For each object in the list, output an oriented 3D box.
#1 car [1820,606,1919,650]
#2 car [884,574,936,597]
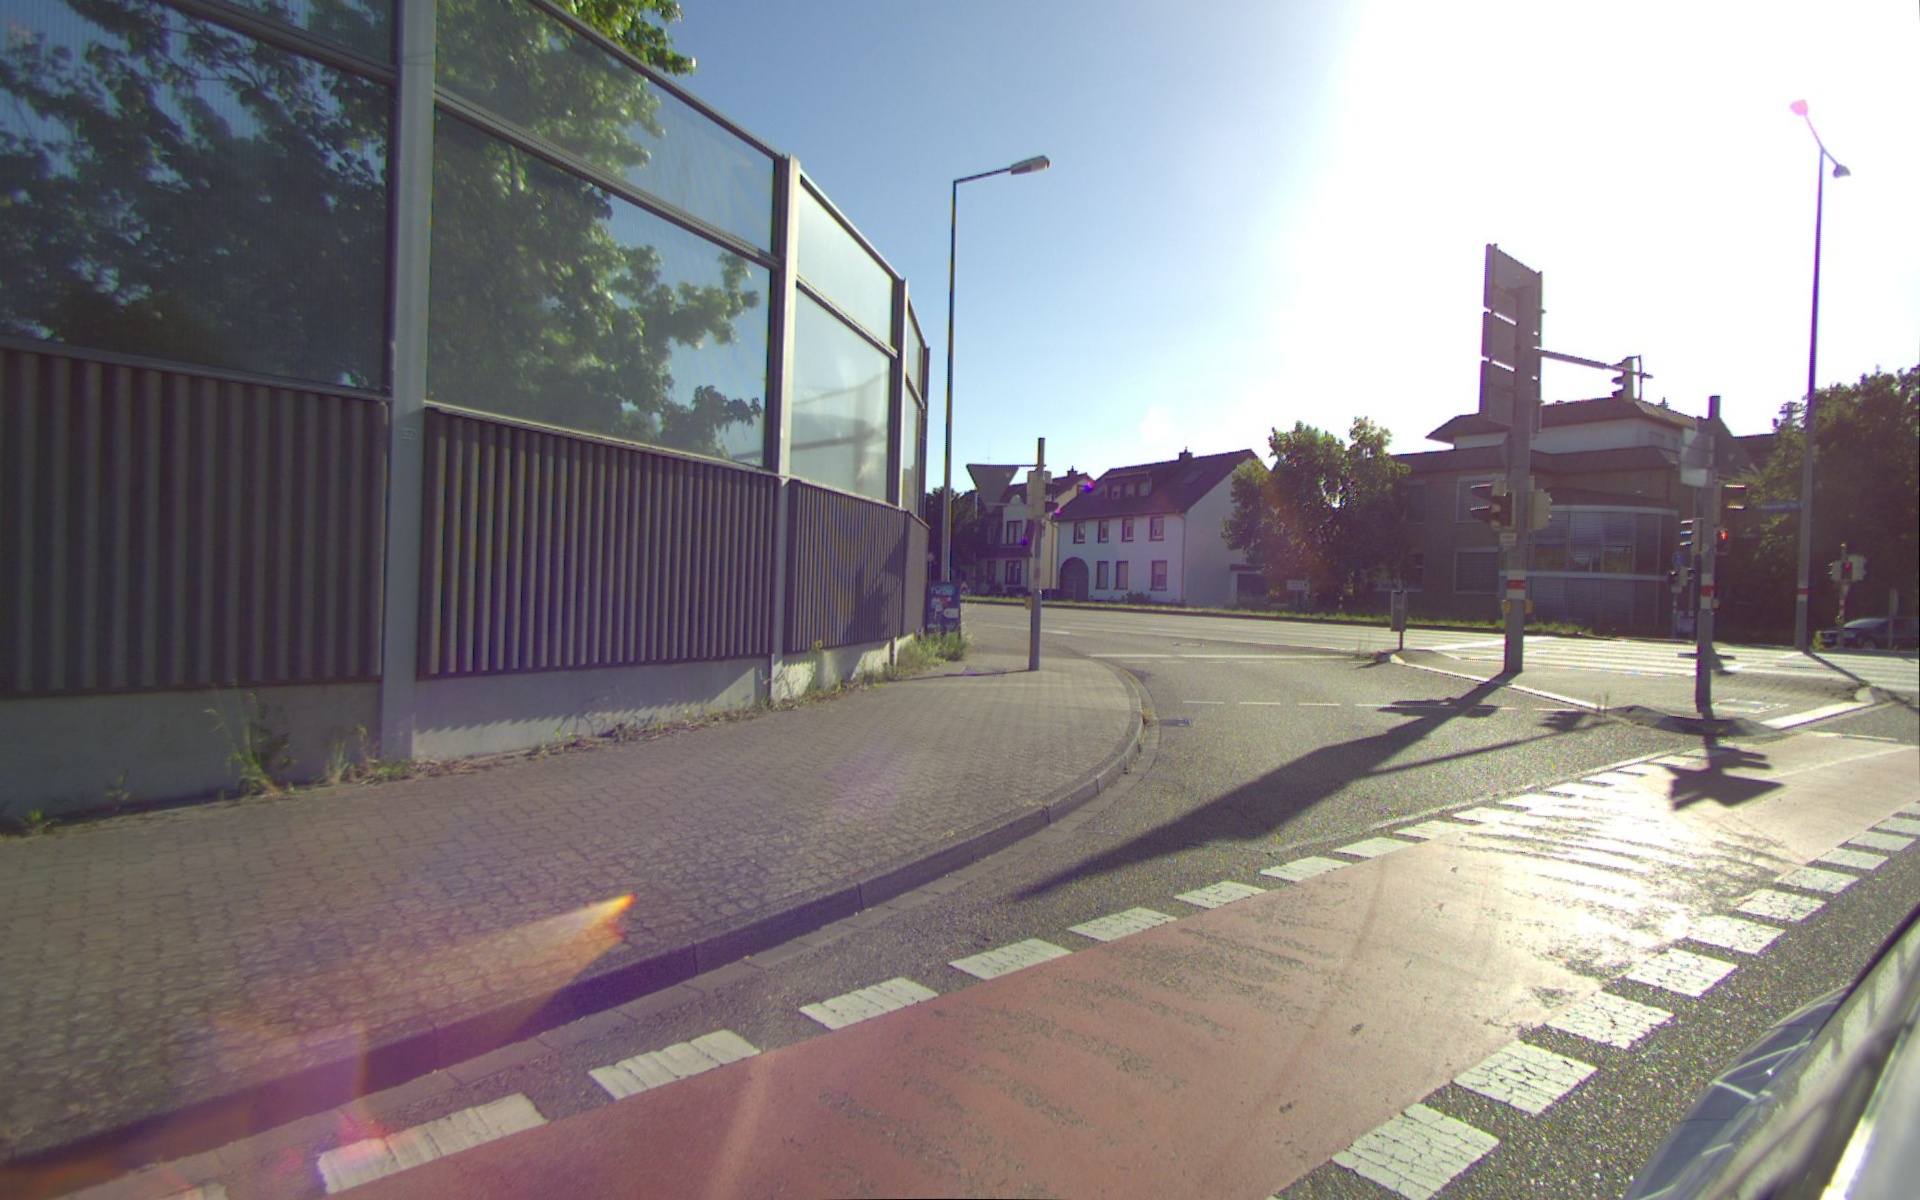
[{"bbox_3d":[33.416,1.003,36.292,3.705,1.505,1.779,1,-1,-4],"label":"car"},{"bbox_3d":[-3.849,-1.144,77.865,1.964,1.638,3.996,2,1,-40],"label":"car"}]
